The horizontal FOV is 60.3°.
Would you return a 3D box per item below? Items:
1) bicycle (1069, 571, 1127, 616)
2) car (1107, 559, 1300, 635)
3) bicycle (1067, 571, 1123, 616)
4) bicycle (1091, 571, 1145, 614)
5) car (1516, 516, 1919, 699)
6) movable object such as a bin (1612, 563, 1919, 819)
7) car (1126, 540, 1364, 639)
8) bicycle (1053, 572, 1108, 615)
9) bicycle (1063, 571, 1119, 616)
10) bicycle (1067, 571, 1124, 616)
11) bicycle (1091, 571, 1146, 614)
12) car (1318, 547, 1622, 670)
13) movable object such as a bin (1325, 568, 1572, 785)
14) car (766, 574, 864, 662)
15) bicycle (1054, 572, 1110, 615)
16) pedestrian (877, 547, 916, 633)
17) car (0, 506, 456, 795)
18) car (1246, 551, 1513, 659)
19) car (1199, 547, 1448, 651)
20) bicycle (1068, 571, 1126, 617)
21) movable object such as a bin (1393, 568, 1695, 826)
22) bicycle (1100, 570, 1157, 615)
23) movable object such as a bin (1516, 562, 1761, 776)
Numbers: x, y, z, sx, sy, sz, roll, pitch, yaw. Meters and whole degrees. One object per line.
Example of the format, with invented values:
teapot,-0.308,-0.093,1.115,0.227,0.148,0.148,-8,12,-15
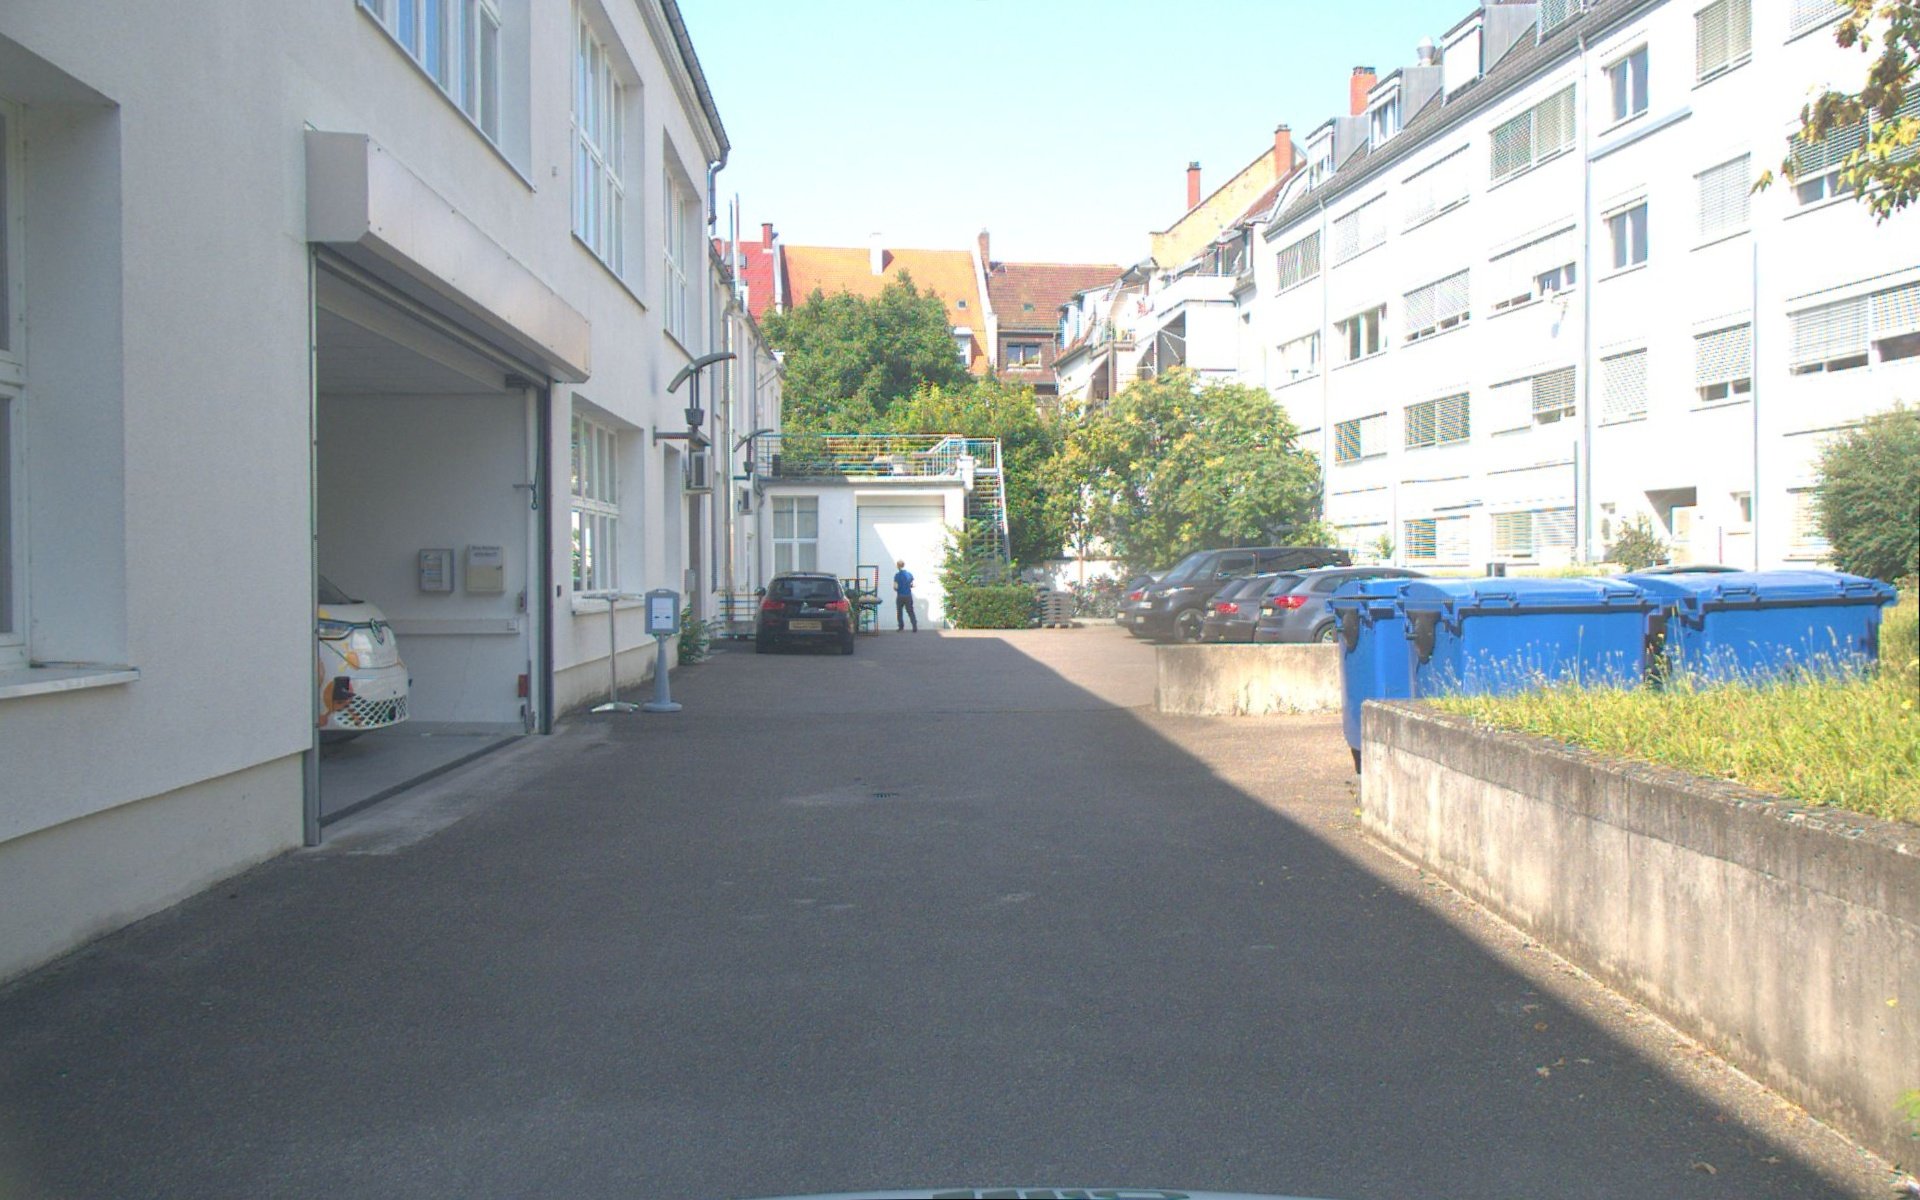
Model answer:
bicycle,3.986,-0.187,47.808,1.590,1.235,0.327,-2,1,-1
car,5.391,-0.072,36.851,3.863,1.508,1.769,-2,0,-12
bicycle,3.964,-0.193,48.552,1.588,1.235,0.327,-2,1,8
bicycle,4.877,-0.233,50.956,1.588,1.235,0.424,-2,1,10
car,8.295,0.065,18.298,3.549,1.571,1.801,-6,1,-4
movable object such as a bin,4.624,0.490,9.575,1.203,1.364,1.075,-1,0,-7
car,5.824,-0.220,33.982,4.421,1.825,1.878,-2,0,-12
bicycle,3.693,-0.206,50.819,1.592,1.235,0.423,-3,1,-7
bicycle,3.873,-0.194,48.912,1.588,1.235,0.327,-2,1,11
bicycle,3.946,-0.188,48.100,1.590,1.235,0.327,-2,1,-1
bicycle,4.777,-0.222,49.925,1.588,1.235,0.424,-2,1,10
car,7.294,0.097,23.816,3.732,1.616,1.892,-1,0,-12
movable object such as a bin,3.289,0.487,11.276,1.274,1.364,1.194,-1,0,-3
car,-2.632,0.293,30.468,1.655,1.484,3.920,-1,0,-4
bicycle,3.663,-0.194,49.581,1.591,1.235,0.424,-2,1,-3
pedestrian,-1.534,-0.244,40.083,0.895,2.049,0.934,-1,0,-2
car,-6.730,0.375,13.399,4.651,2.129,2.055,-1,0,-2
car,6.797,0.070,27.000,3.789,1.616,1.876,-1,0,-8
car,6.498,-0.029,29.807,4.037,1.721,1.769,-1,0,-5
bicycle,3.933,-0.183,47.484,1.590,1.235,0.327,-2,1,-1
movable object such as a bin,3.320,0.520,9.524,1.284,1.364,1.099,-1,0,-6
bicycle,4.950,-0.214,48.495,1.588,1.235,0.327,-2,1,13
movable object such as a bin,4.589,0.441,11.292,1.209,1.364,1.117,-1,0,1
